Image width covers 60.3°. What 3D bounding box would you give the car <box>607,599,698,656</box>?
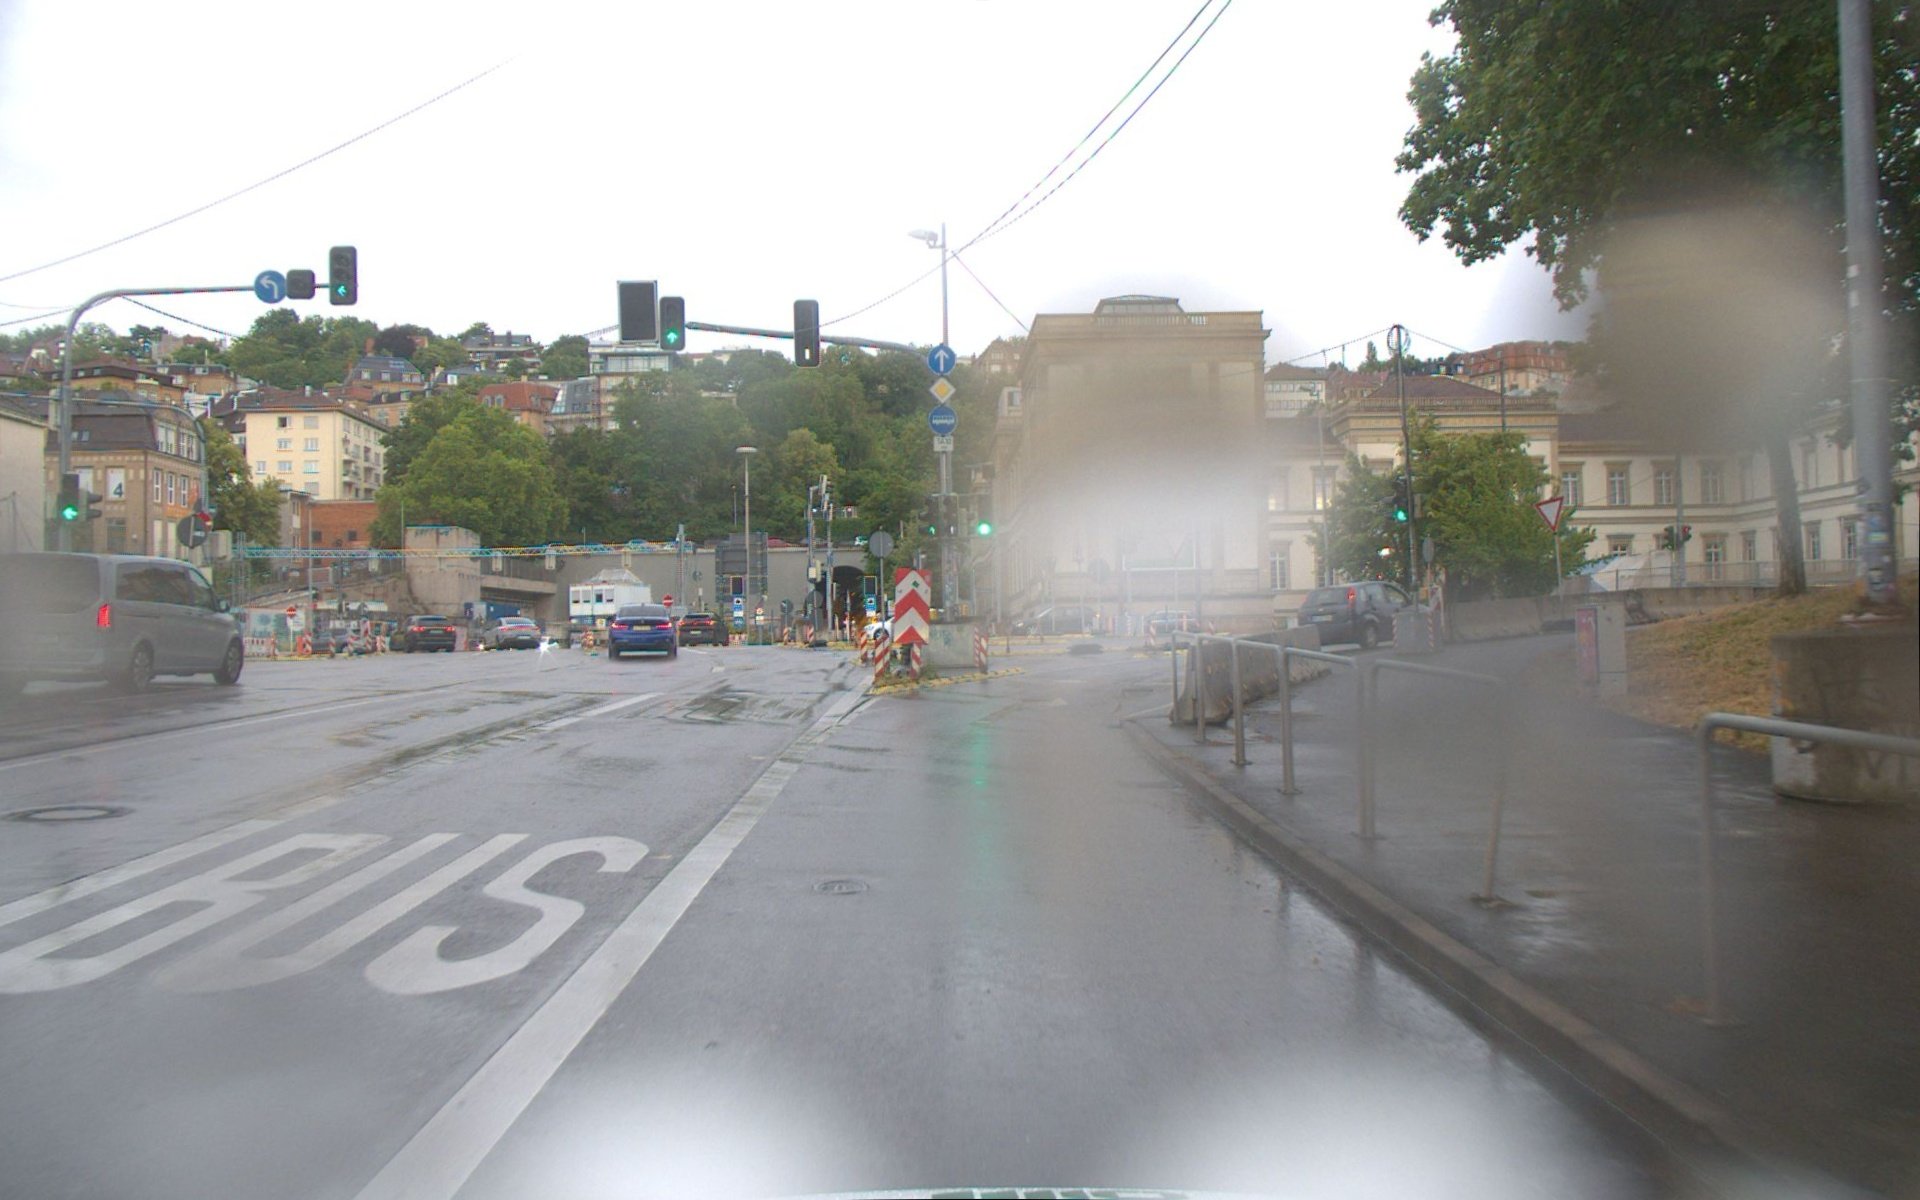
[{"bbox_3d":[-8.334,0.730,45.173,1.954,1.464,3.997,0,-1,-4],"label":"car"}]

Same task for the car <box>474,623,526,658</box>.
[{"bbox_3d":[-28.398,2.475,102.184,1.952,2.049,4.002,0,0,3],"label":"car"}]

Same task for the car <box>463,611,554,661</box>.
[{"bbox_3d":[-19.496,1.520,71.352,1.986,2.049,4.223,0,0,-45],"label":"car"}]

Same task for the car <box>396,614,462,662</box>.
[{"bbox_3d":[-21.473,1.502,66.839,1.757,1.780,3.960,0,0,-30],"label":"car"}]

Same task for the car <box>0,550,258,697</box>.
[{"bbox_3d":[-11.898,0.318,23.441,1.953,1.871,4.682,0,0,-1],"label":"car"}]

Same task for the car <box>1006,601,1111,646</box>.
[{"bbox_3d":[4.505,1.062,75.867,4.584,2.049,1.998,0,0,-6],"label":"car"}]

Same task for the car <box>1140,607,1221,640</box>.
[{"bbox_3d":[11.834,1.277,88.964,4.095,1.730,1.822,0,0,-1],"label":"car"}]

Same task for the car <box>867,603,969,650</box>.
[{"bbox_3d":[-1.938,1.189,75.142,4.536,2.049,1.998,0,0,-6],"label":"car"}]

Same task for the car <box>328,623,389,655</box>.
[{"bbox_3d":[-29.779,1.908,81.877,1.763,1.489,3.946,0,0,-37],"label":"car"}]

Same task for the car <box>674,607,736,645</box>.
[{"bbox_3d":[-11.781,1.178,76.596,1.951,1.663,4.002,1,0,4],"label":"car"}]

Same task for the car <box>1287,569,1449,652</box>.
[{"bbox_3d":[8.905,0.211,35.972,3.730,1.451,1.648,-6,3,-44],"label":"car"}]

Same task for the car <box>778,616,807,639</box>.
[{"bbox_3d":[-10.862,1.772,107.361,1.463,1.378,3.999,1,0,-1],"label":"car"}]

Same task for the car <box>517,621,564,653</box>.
[{"bbox_3d":[-27.935,2.449,110.264,1.952,2.049,4.002,0,0,3],"label":"car"}]
